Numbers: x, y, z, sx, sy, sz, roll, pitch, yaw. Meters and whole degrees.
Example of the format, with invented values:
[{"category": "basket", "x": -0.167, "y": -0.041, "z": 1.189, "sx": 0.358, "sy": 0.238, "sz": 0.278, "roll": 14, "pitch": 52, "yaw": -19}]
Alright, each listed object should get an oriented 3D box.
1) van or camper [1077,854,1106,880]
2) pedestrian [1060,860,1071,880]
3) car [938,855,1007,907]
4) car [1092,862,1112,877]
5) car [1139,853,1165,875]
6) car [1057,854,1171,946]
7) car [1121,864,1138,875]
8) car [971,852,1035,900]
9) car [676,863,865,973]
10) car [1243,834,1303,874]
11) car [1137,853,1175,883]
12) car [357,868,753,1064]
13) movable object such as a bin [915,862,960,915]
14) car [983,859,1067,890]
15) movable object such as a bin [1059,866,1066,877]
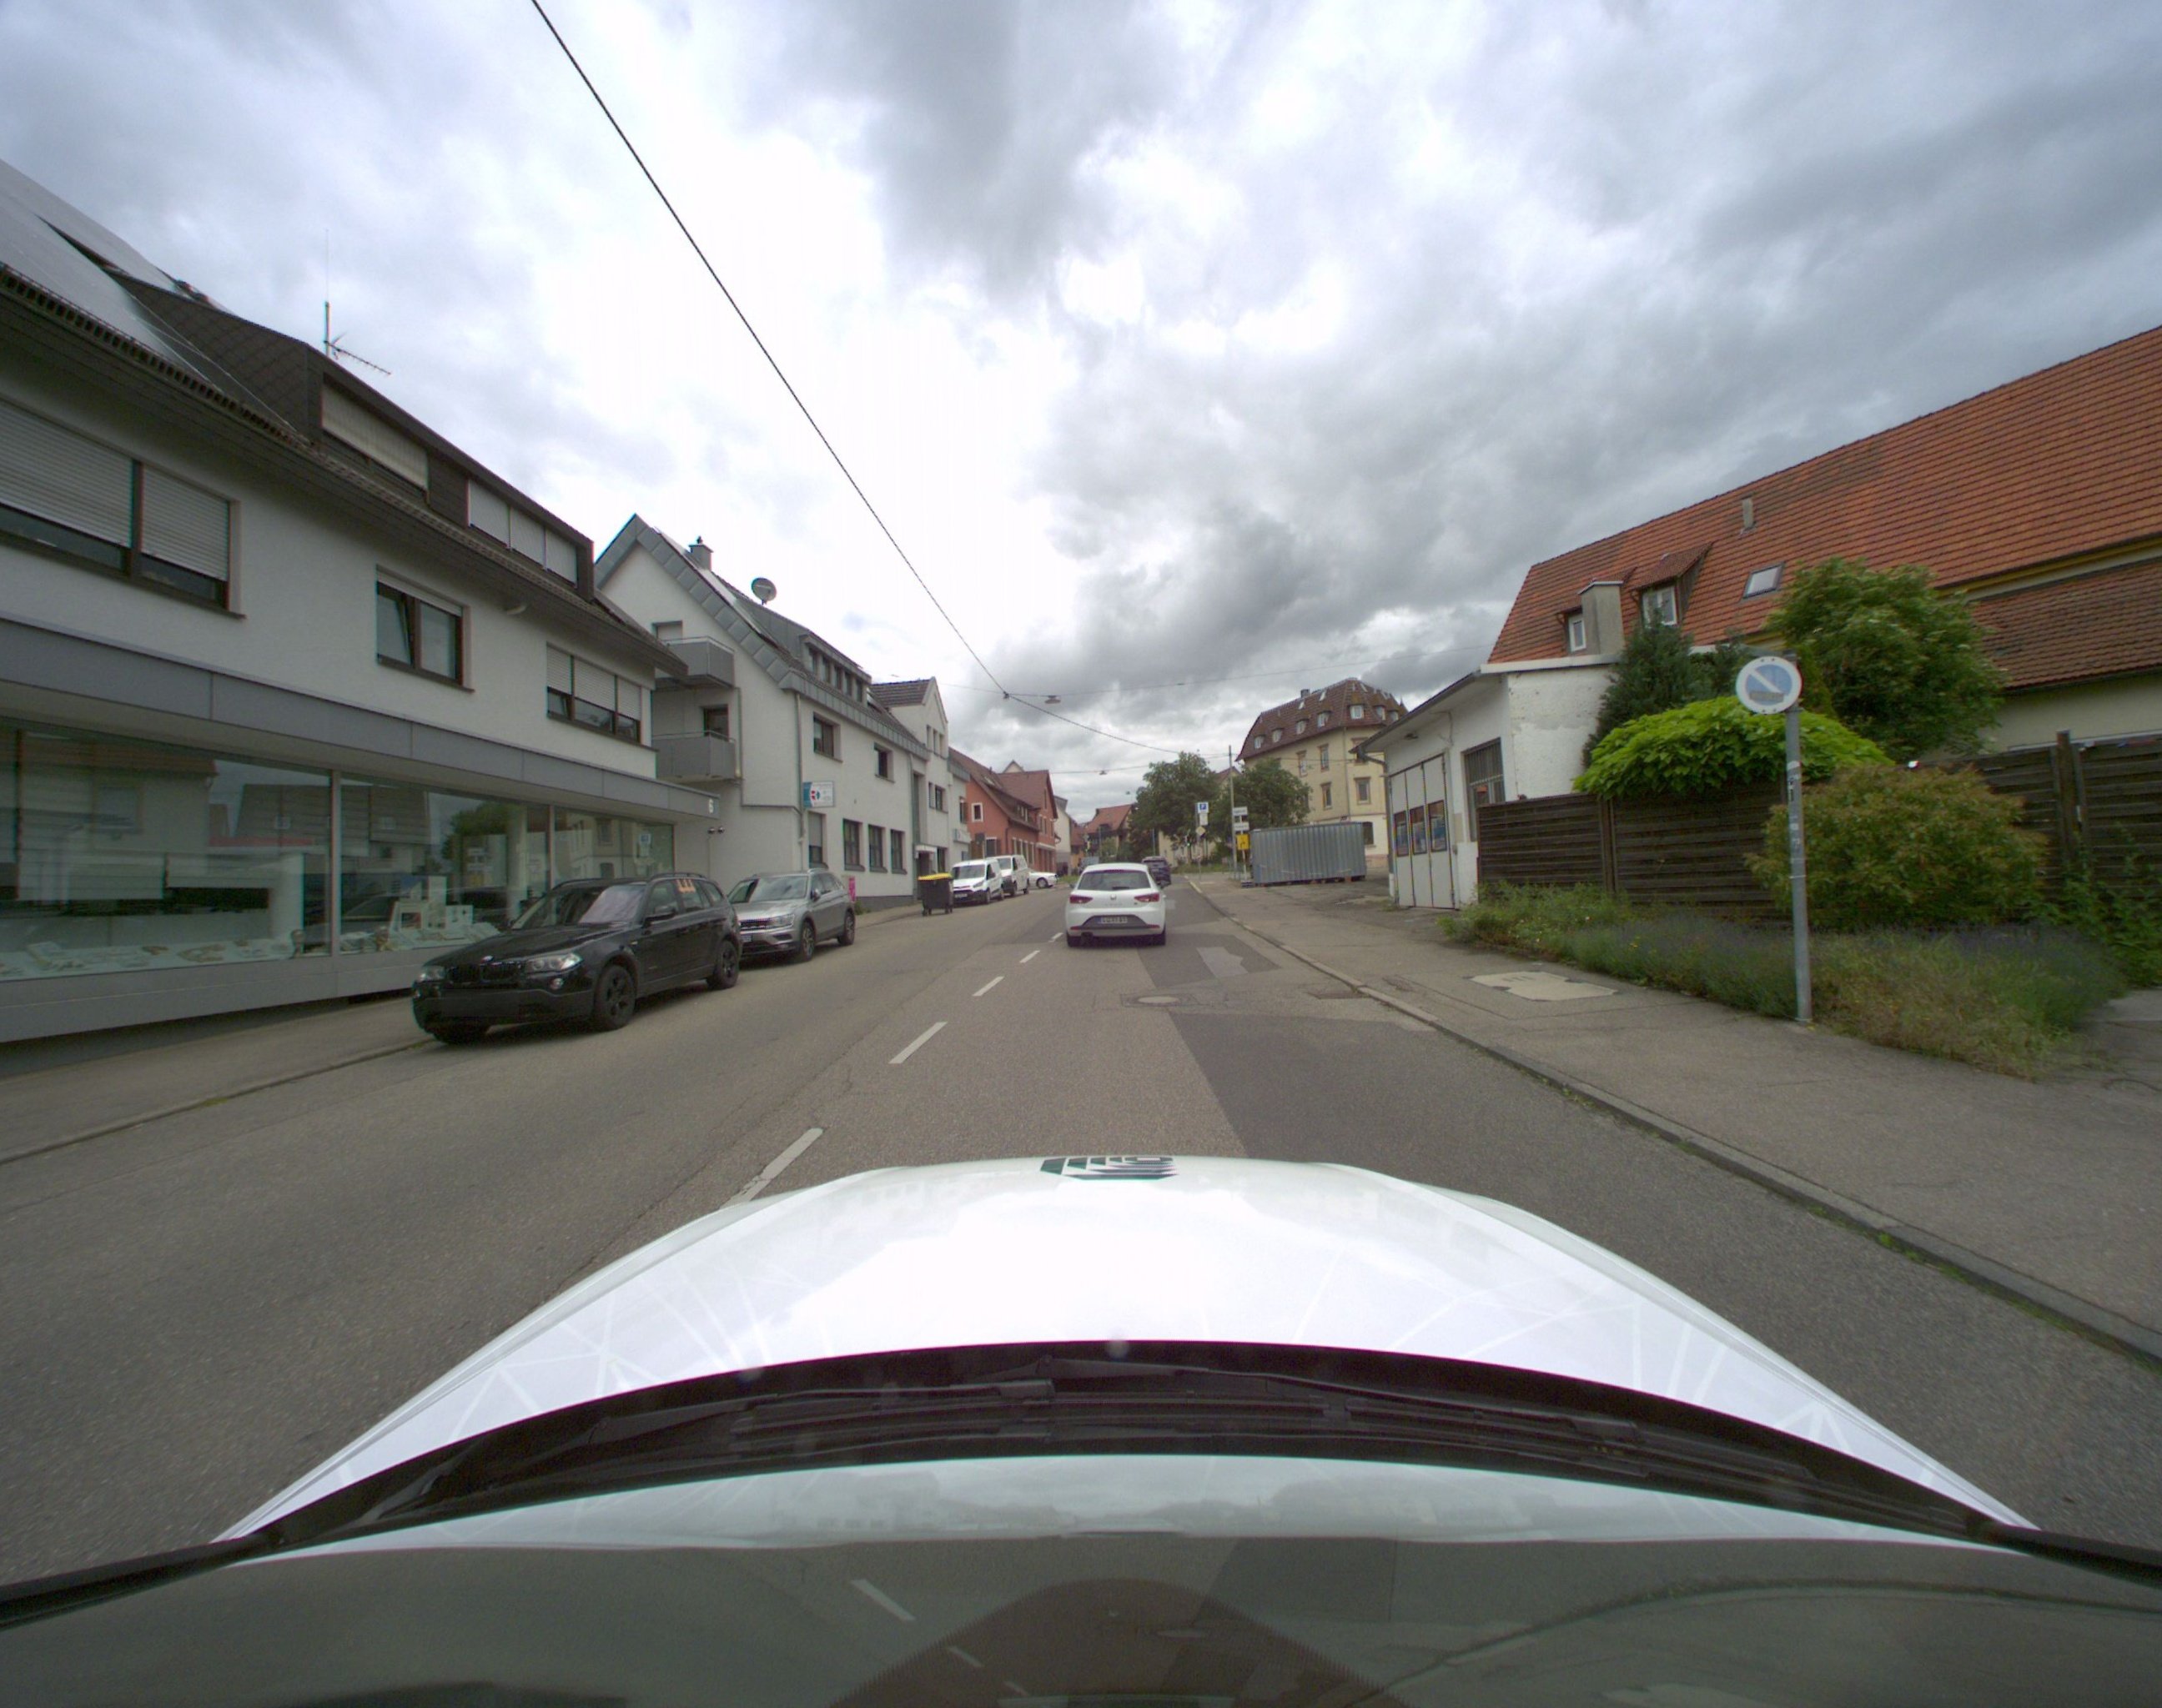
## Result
[{"category": "van or camper", "x": 1.003, "y": 1.183, "z": 73.060, "sx": 2.064, "sy": 2.006, "sz": 4.864, "roll": -5, "pitch": -3, "yaw": 5}, {"category": "pedestrian", "x": -1.434, "y": 1.499, "z": 75.443, "sx": 0.796, "sy": 1.785, "sz": 0.894, "roll": -2, "pitch": -1, "yaw": 5}, {"category": "car", "x": -4.317, "y": 1.035, "z": 33.143, "sx": 1.725, "sy": 1.831, "sz": 4.304, "roll": -5, "pitch": 0, "yaw": 5}, {"category": "car", "x": 2.380, "y": 1.754, "z": 92.616, "sx": 1.993, "sy": 1.633, "sz": 4.853, "roll": -2, "pitch": -2, "yaw": -2}, {"category": "car", "x": 5.008, "y": 0.743, "z": 57.394, "sx": 1.750, "sy": 1.452, "sz": 4.005, "roll": -3, "pitch": -2, "yaw": 5}, {"category": "car", "x": 0.760, "y": 0.778, "z": 15.488, "sx": 1.749, "sy": 1.452, "sz": 4.008, "roll": -3, "pitch": -1, "yaw": 7}, {"category": "car", "x": 6.983, "y": 2.237, "z": 117.763, "sx": 1.758, "sy": 1.452, "sz": 3.987, "roll": 0, "pitch": -2, "yaw": -9}, {"category": "car", "x": -3.626, "y": 0.962, "z": 38.743, "sx": 1.802, "sy": 2.005, "sz": 4.773, "roll": -5, "pitch": 0, "yaw": 8}, {"category": "car", "x": -5.638, "y": 1.068, "z": 15.471, "sx": 1.832, "sy": 1.632, "sz": 4.406, "roll": -4, "pitch": 0, "yaw": -1}, {"category": "car", "x": 9.479, "y": -0.001, "z": 40.586, "sx": 1.741, "sy": 1.739, "sz": 4.569, "roll": -4, "pitch": 0, "yaw": -1}, {"category": "car", "x": 3.946, "y": 0.796, "z": 43.353, "sx": 1.751, "sy": 1.452, "sz": 4.001, "roll": -3, "pitch": -2, "yaw": 2}, {"category": "car", "x": -5.807, "y": 1.084, "z": 9.821, "sx": 1.832, "sy": 1.632, "sz": 4.406, "roll": -4, "pitch": 0, "yaw": -1}, {"category": "movable object such as a bin", "x": -4.770, "y": 1.114, "z": 27.166, "sx": 1.137, "sy": 1.633, "sz": 1.562, "roll": -4, "pitch": 0, "yaw": -1}, {"category": "car", "x": -3.279, "y": 1.212, "z": 48.204, "sx": 4.527, "sy": 1.445, "sz": 2.005, "roll": -5, "pitch": -1, "yaw": 8}, {"category": "movable object such as a bin", "x": -1.855, "y": 1.777, "z": 81.319, "sx": 0.663, "sy": 1.018, "sz": 0.796, "roll": -3, "pitch": -1, "yaw": 2}]
